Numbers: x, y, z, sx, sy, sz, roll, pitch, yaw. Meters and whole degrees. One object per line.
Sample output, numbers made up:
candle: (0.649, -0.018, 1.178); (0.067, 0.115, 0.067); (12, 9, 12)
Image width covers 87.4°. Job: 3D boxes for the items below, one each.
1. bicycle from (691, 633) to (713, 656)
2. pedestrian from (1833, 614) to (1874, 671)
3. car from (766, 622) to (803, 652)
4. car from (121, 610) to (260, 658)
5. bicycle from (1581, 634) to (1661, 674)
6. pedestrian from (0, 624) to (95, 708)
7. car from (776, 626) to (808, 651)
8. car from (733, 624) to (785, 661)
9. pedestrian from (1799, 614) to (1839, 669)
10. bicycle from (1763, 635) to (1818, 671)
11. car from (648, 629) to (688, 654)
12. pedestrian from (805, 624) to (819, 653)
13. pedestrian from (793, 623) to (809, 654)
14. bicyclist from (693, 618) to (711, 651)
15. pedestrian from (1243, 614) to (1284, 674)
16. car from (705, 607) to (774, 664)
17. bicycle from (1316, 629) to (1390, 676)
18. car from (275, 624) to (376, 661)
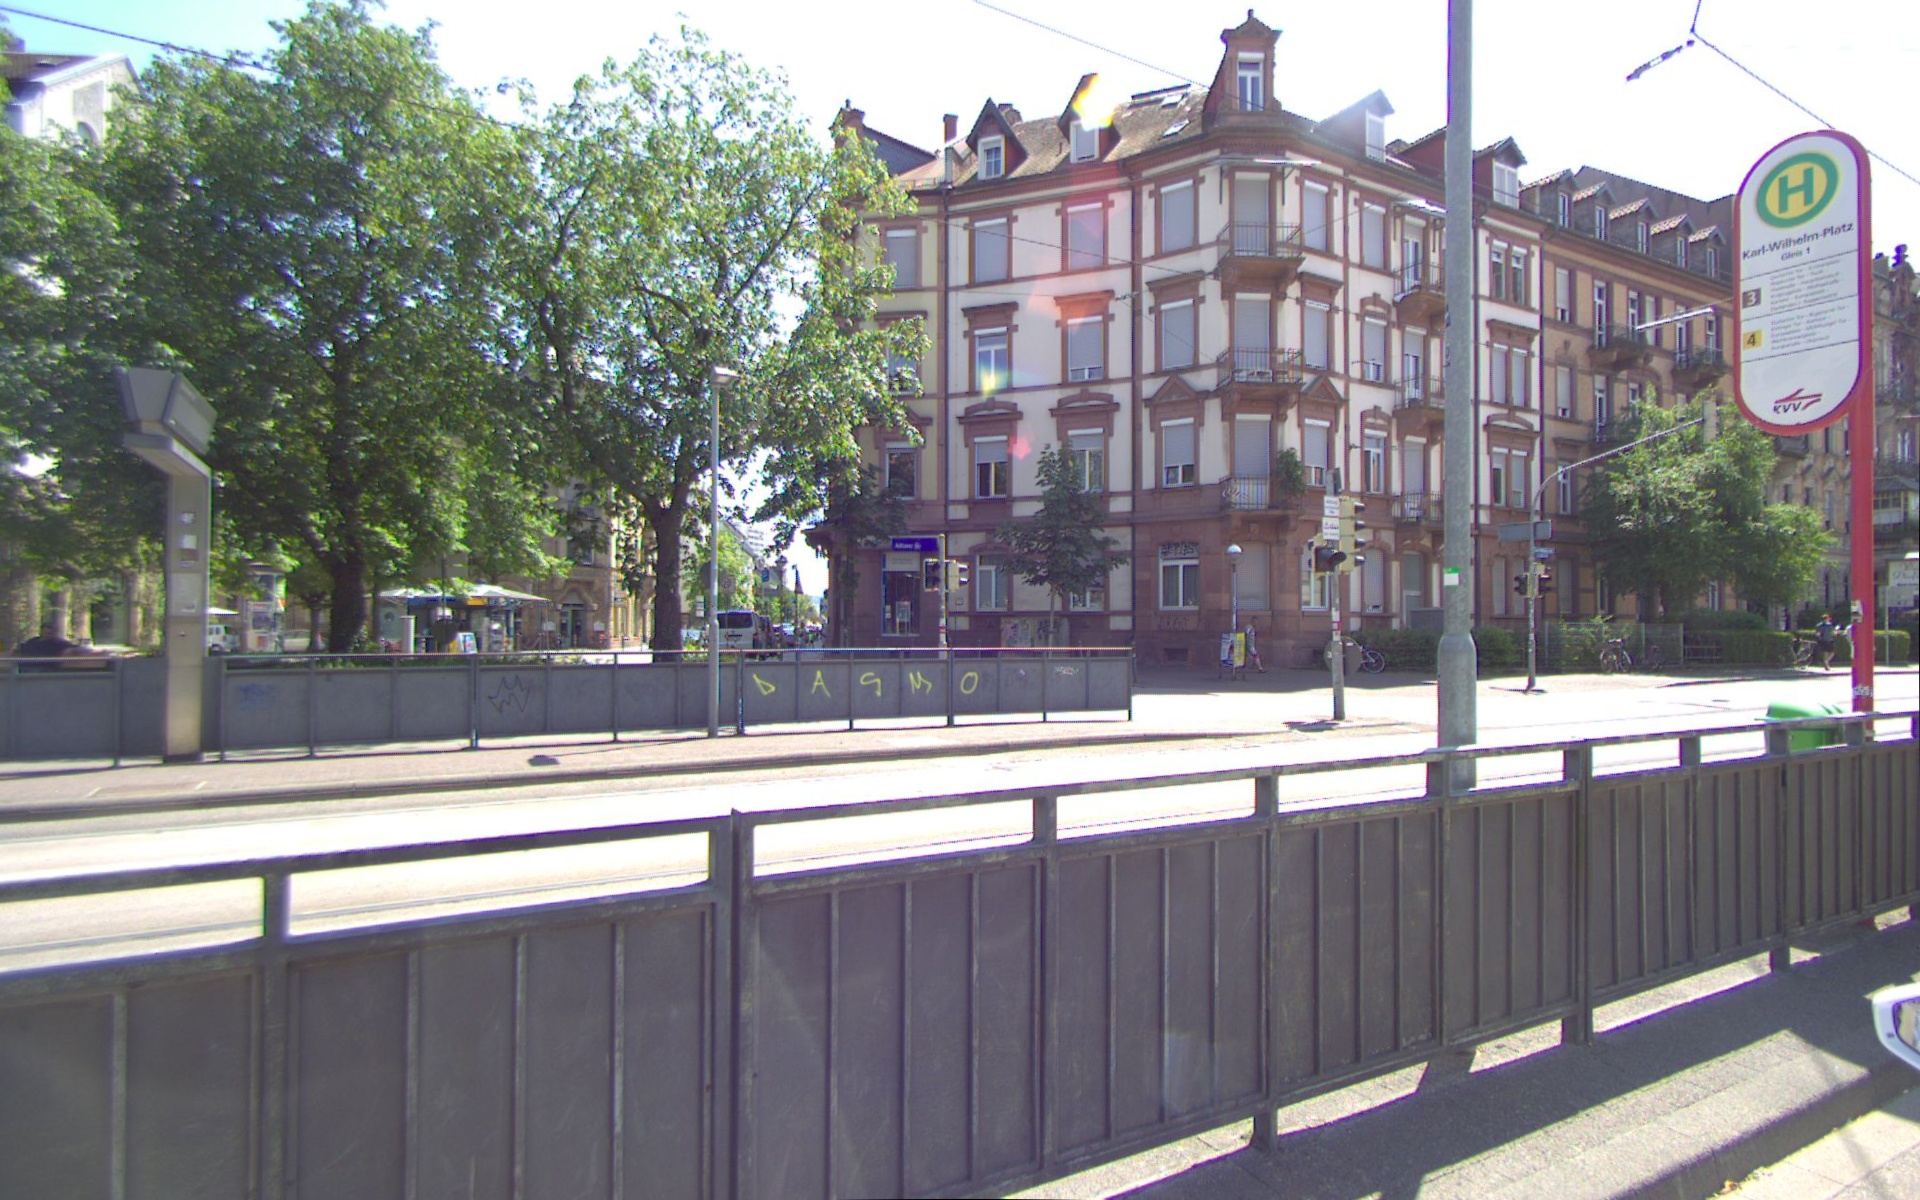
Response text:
bicycle: (-12.723, 2.173, 49.575); (0.686, 1.070, 1.766); (1, -1, -3)
pedestrian: (30.051, 1.410, 33.795); (0.864, 1.847, 0.811); (0, 1, -32)
car: (-10.366, 2.179, 59.465); (1.684, 1.617, 3.998); (2, 0, -4)
car: (-31.183, 1.371, 40.829); (3.932, 1.814, 1.994); (2, 0, -14)
bicycle: (20.233, 1.643, 30.725); (2.742, 1.151, 0.932); (2, 0, -31)
pedestrian: (-14.656, 1.045, 16.117); (0.925, 1.261, 0.860); (2, 0, -24)
car: (-12.474, 2.846, 74.770); (1.962, 1.617, 3.998); (2, 0, -4)
car: (-9.619, 2.012, 48.301); (1.893, 1.541, 3.998); (2, 0, -4)
pedestrian: (29.479, 1.404, 34.463); (0.864, 1.847, 0.811); (0, 1, -32)
bicycle: (28.533, 1.799, 34.490); (2.750, 1.151, 0.930); (2, 0, -39)
car: (-20.651, 2.920, 71.176); (1.846, 1.617, 3.998); (2, 0, -4)
pedestrian: (-8.567, 2.211, 58.062); (0.742, 1.632, 0.688); (0, -1, -4)
pedestrian: (-8.607, 2.087, 54.405); (0.790, 1.632, 0.731); (0, -1, -4)
bicyclist: (-12.730, 1.704, 49.594); (0.686, 1.613, 0.849); (1, -1, -3)
pedestrian: (8.749, 1.257, 29.000); (1.040, 1.712, 0.723); (0, -1, 8)
car: (-8.323, 1.300, 38.229); (1.962, 1.970, 3.998); (2, 0, -4)
bicycle: (11.670, 1.556, 29.873); (1.923, 1.312, 0.564); (2, 0, 11)
car: (-32.069, 2.163, 50.904); (3.920, 1.730, 1.761); (2, 0, -14)
